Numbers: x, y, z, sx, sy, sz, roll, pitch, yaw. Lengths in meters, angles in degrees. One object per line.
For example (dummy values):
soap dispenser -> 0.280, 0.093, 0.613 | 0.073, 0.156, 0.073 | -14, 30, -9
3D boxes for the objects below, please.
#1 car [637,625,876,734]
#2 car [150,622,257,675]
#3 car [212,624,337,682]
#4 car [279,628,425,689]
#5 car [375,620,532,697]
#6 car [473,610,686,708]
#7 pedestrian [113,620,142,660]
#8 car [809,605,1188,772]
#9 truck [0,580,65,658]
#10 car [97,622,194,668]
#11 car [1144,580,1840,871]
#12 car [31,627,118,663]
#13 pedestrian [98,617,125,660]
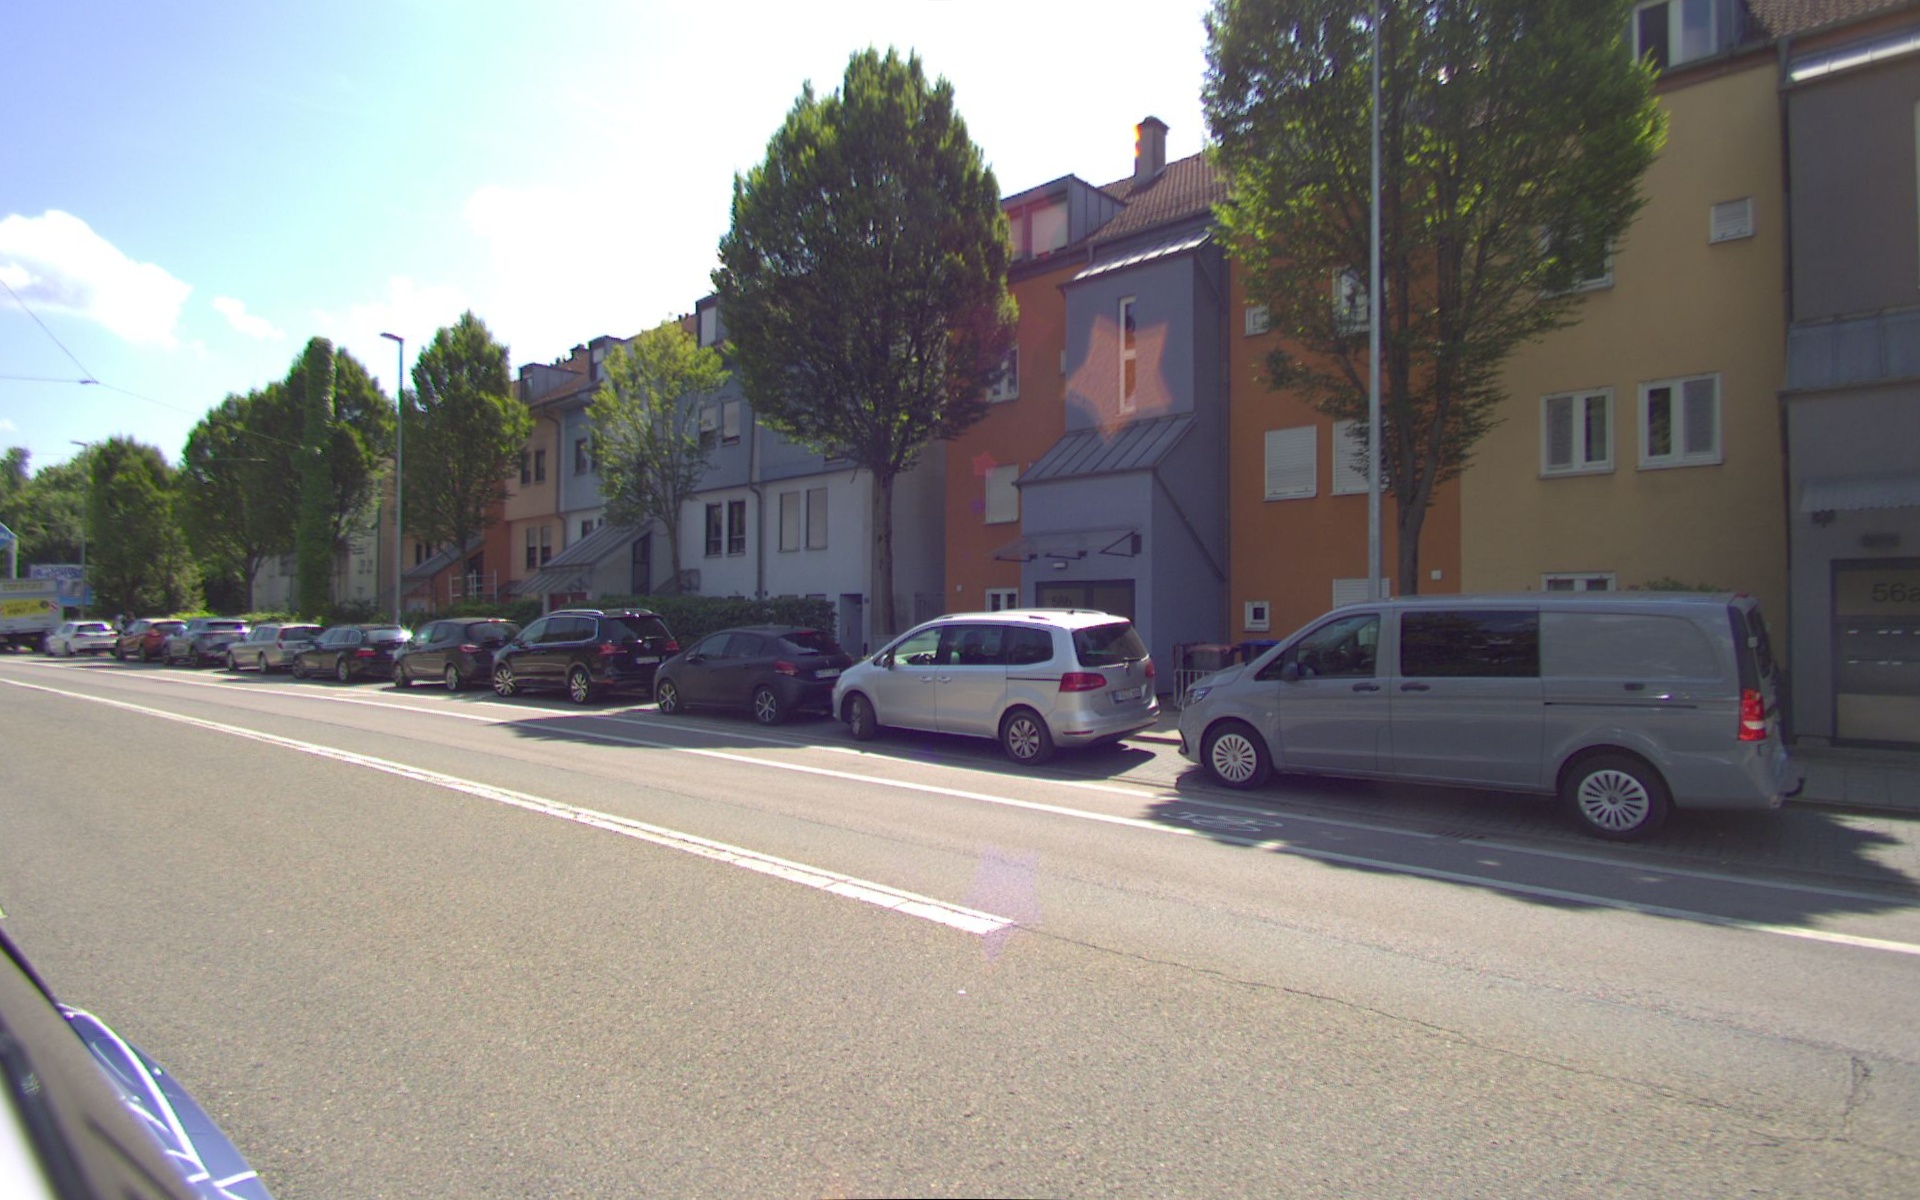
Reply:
car -> -3.392, 1.193, 16.483 | 4.083, 1.482, 1.582 | 0, -1, 39
car -> -25.658, 1.596, 34.283 | 4.679, 1.621, 1.640 | -1, 0, 37
car -> -21.122, 1.577, 31.113 | 4.886, 1.519, 1.641 | 0, 1, 36
car -> -16.436, 1.503, 27.264 | 4.957, 1.457, 1.725 | -1, 0, 38
car -> -11.861, 1.307, 23.576 | 4.281, 1.630, 1.639 | -1, -2, 39
car -> -7.632, 1.115, 20.051 | 4.882, 1.729, 1.733 | -2, -3, 39
pedestrian -> -37.749, 1.806, 45.902 | 0.695, 1.809, 0.682 | 0, -2, 7
car -> 0.308, 1.005, 12.993 | 4.901, 1.765, 1.698 | -1, -2, 41
truck -> -47.020, 0.938, 49.499 | 8.148, 3.575, 2.808 | -1, 0, 34
car -> -30.412, 1.648, 37.776 | 4.162, 1.622, 1.642 | -1, -2, 34
car -> 4.514, 0.886, 9.310 | 5.361, 1.909, 1.787 | -1, 2, 42
car -> -37.259, 1.880, 42.566 | 4.385, 1.421, 1.642 | -1, -2, 34
pedestrian -> -38.608, 1.765, 46.056 | 0.633, 1.937, 0.710 | 0, -2, -13
